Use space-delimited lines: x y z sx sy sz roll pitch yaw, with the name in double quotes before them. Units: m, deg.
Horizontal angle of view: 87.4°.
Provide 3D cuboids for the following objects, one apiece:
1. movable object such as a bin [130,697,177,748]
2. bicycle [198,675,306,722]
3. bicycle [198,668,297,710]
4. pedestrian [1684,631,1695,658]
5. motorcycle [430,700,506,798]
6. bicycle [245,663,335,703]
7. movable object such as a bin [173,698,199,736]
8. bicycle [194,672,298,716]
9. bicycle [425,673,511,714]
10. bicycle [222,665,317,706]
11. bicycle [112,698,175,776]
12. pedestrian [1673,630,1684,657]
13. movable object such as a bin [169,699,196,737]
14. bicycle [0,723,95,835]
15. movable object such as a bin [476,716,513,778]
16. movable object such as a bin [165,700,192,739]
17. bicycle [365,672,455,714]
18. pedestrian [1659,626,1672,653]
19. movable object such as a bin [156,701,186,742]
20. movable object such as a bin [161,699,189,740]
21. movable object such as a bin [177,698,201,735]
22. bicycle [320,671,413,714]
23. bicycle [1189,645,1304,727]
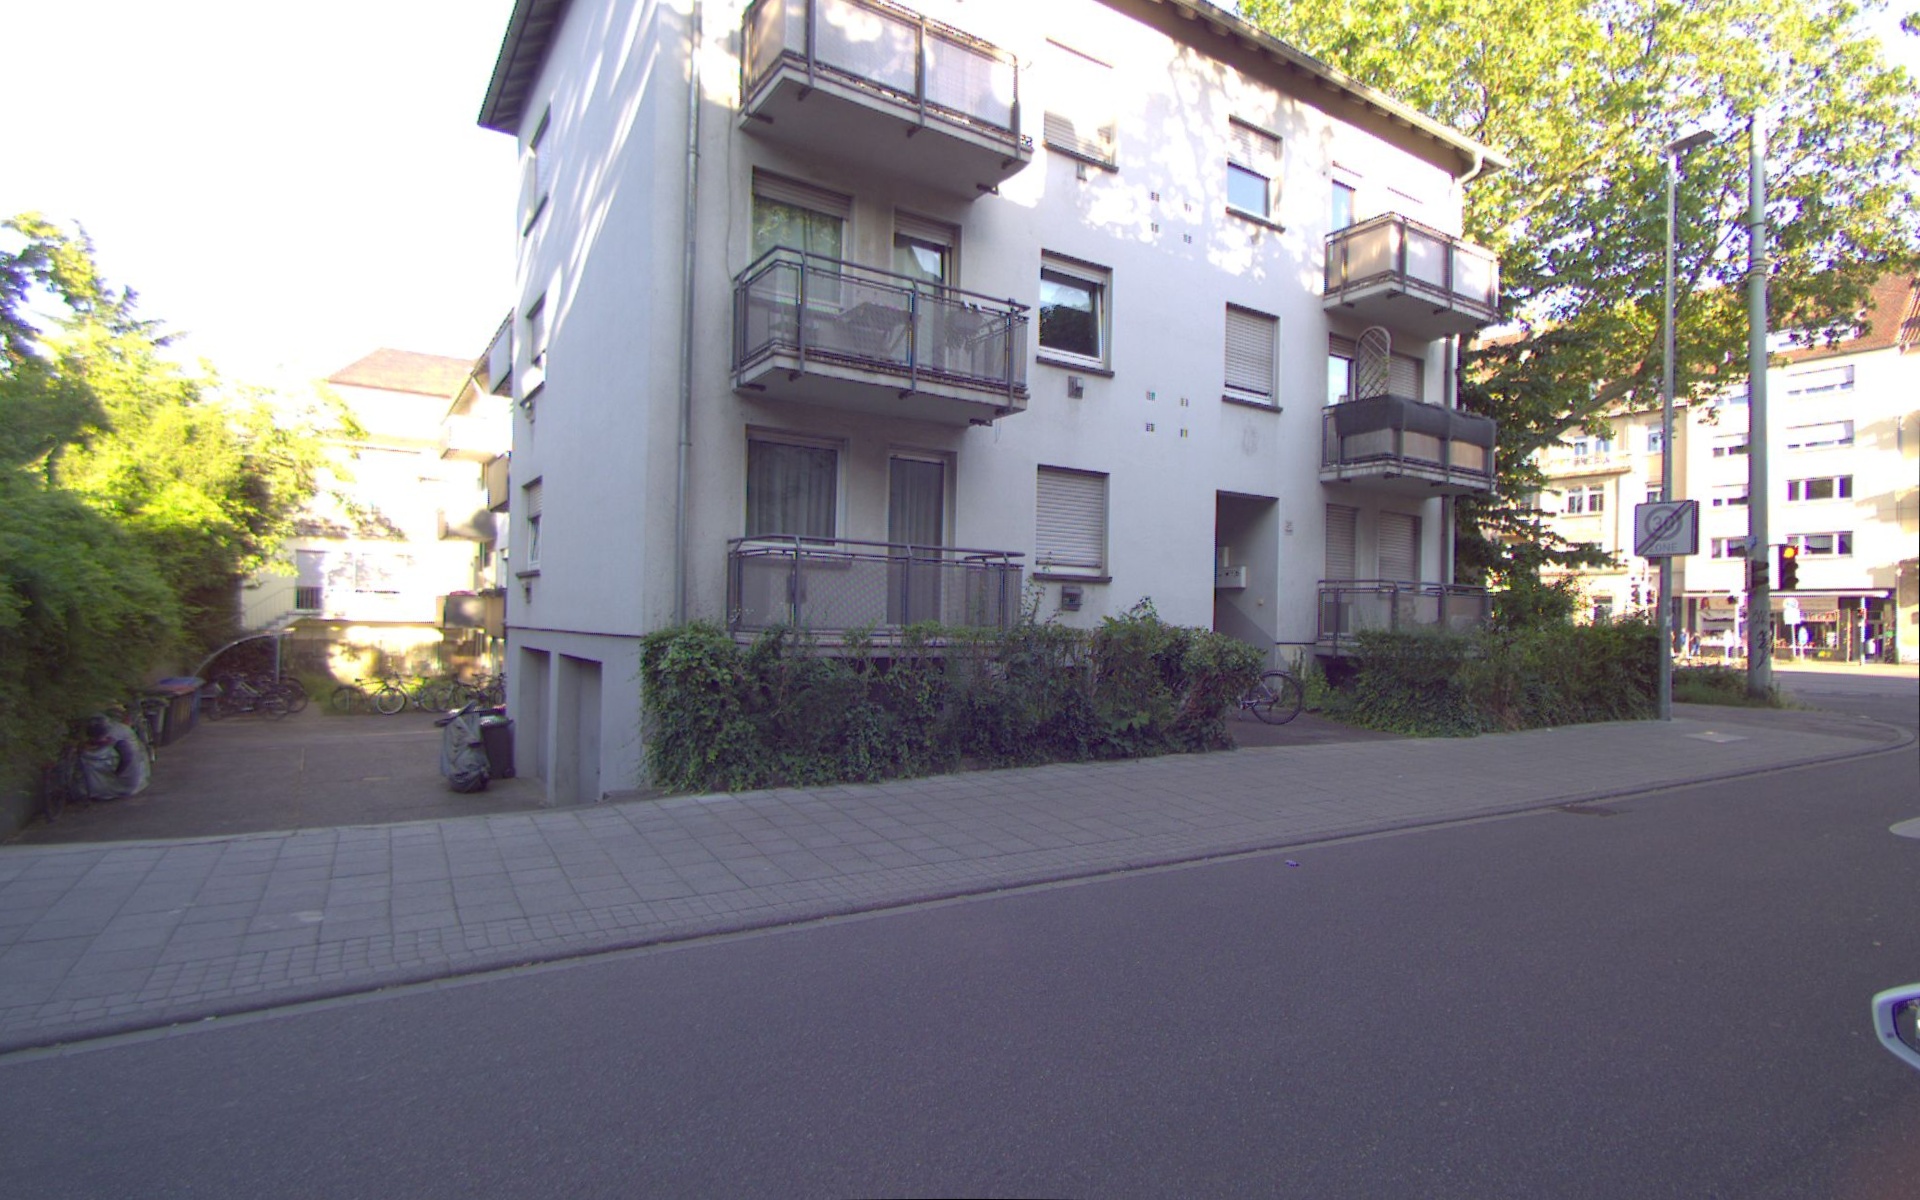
"movable object such as a bin" -14.949 2.264 18.624 0.570 0.891 0.491 2 -4 -30
"bicycle" -17.209 2.398 24.468 2.045 1.034 0.637 4 0 -30
"bicycle" -18.832 2.361 26.608 2.045 1.034 0.611 4 0 -30
"pedestrian" 41.788 2.521 57.509 0.467 1.531 0.429 0 -1 41
"motorcycle" -7.382 2.194 15.038 0.751 1.268 1.577 1 -2 -36
"bicycle" -18.991 2.366 28.518 2.045 1.034 0.564 4 0 -30
"movable object such as a bin" -16.401 2.474 21.288 0.362 0.768 0.361 2 -4 -30
"bicycle" -17.988 2.379 25.369 2.045 1.034 0.568 4 0 -30
"bicycle" -13.615 2.587 27.827 2.045 1.034 0.637 4 0 -30
"bicycle" -18.967 2.362 27.646 2.045 1.034 0.611 4 0 -30
"bicycle" -13.220 2.181 16.297 0.509 1.033 1.922 3 -1 -32
"pedestrian" 41.971 2.524 58.679 0.501 1.531 0.535 0 -1 33
"movable object such as a bin" -16.208 2.455 20.948 0.362 0.768 0.361 2 -4 -30
"bicycle" -10.972 2.099 12.086 0.509 1.033 1.922 3 -1 -32
"movable object such as a bin" -7.499 2.358 16.186 0.428 0.899 0.720 1 -2 -34
"movable object such as a bin" -16.021 2.437 20.598 0.371 0.768 0.361 2 -4 -30
"bicycle" -14.828 2.512 27.117 2.045 1.034 0.637 4 0 -30
"pedestrian" 40.649 2.266 57.901 0.558 1.531 0.499 0 -1 41
"movable object such as a bin" -15.629 2.402 19.896 0.393 0.784 0.361 2 -4 -30
"movable object such as a bin" -15.823 2.405 20.257 0.377 0.784 0.361 2 -4 -30
"movable object such as a bin" -16.601 2.500 21.623 0.342 0.768 0.361 2 -4 -30
"bicycle" -15.692 2.455 26.617 2.045 1.034 0.637 4 0 -30
"bicycle" 3.884 1.149 13.619 1.433 0.988 0.407 3 0 21
